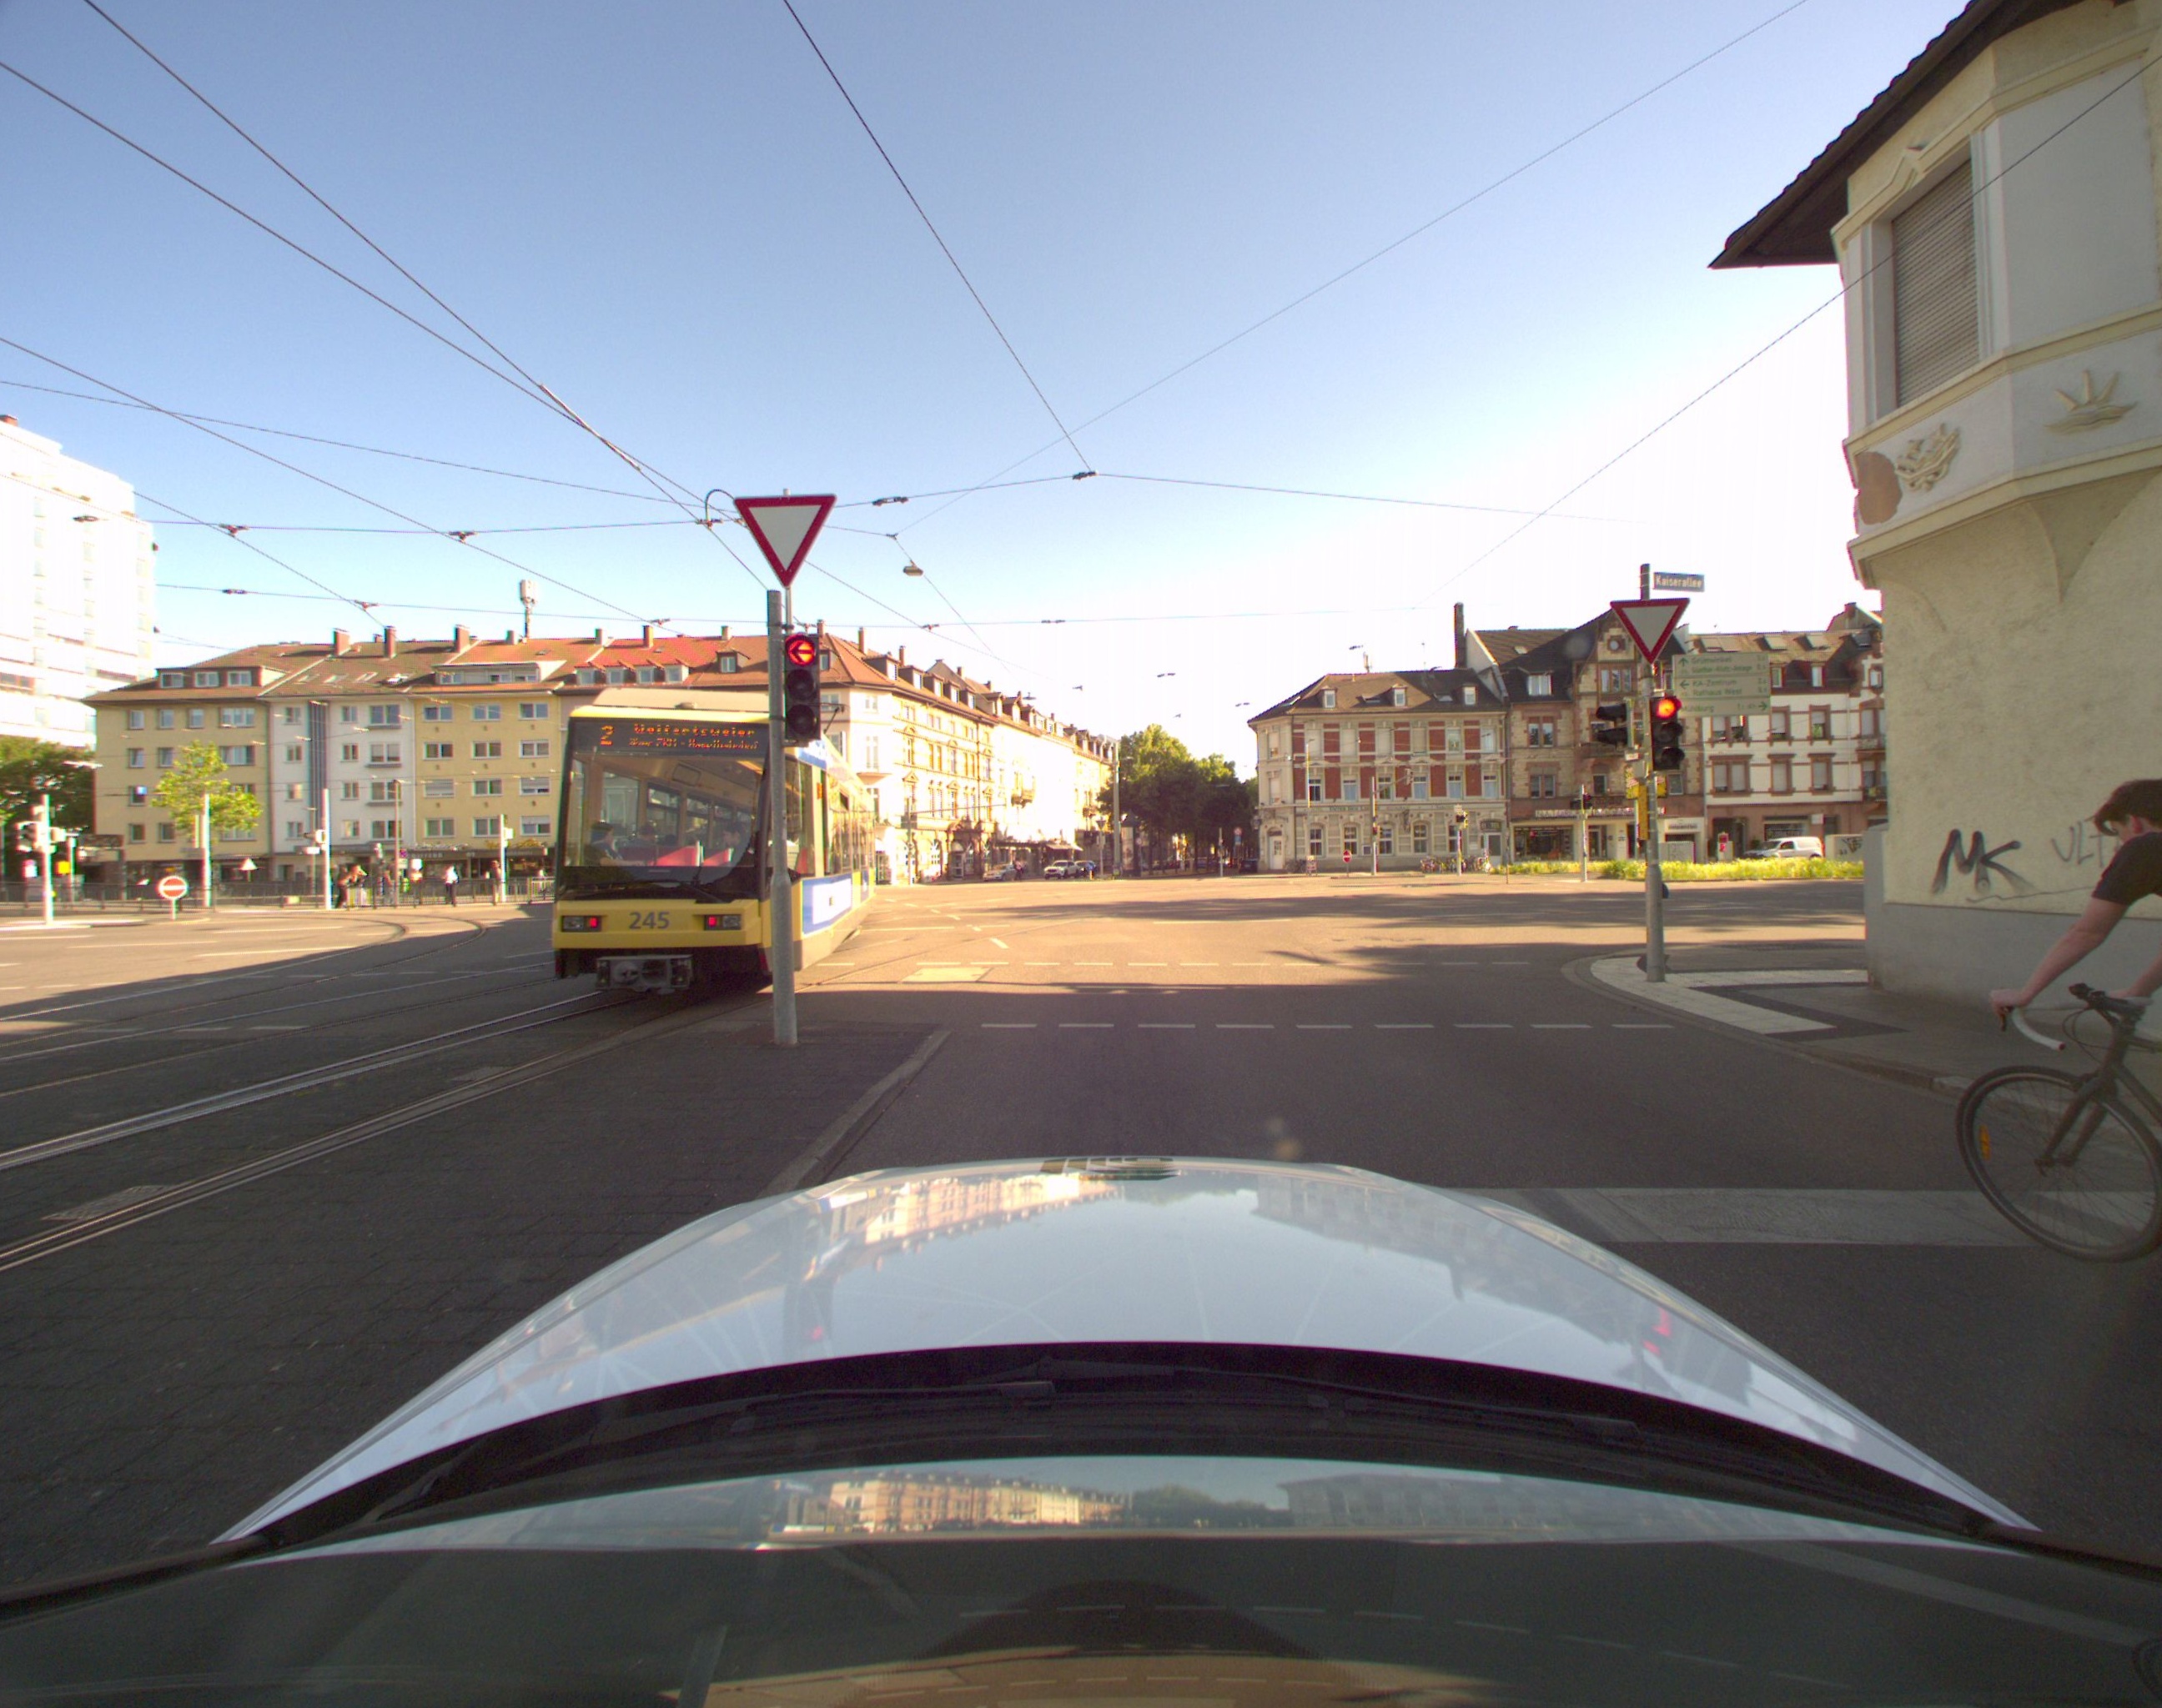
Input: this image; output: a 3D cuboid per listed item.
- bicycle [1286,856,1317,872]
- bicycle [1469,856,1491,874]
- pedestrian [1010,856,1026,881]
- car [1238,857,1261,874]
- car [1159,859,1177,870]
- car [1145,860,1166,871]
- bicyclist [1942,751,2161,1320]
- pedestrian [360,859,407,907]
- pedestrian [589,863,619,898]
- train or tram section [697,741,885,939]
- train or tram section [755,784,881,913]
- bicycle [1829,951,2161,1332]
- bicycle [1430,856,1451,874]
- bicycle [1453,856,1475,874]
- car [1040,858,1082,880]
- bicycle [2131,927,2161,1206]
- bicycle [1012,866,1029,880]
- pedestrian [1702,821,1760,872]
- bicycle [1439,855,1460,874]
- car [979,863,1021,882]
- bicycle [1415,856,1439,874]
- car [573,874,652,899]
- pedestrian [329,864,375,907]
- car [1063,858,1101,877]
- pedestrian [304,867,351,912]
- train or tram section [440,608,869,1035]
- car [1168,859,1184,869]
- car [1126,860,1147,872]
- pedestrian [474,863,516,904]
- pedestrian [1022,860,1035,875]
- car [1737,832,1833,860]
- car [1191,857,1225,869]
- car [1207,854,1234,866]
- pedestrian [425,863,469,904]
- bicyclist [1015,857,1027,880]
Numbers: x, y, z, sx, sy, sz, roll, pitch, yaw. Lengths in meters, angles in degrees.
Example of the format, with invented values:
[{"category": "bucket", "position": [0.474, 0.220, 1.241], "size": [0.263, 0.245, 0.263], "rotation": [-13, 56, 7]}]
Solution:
[{"category": "bicycle", "position": [15.500, 0.723, 57.181], "size": [2.081, 1.124, 0.366], "rotation": [0, -1, -3]}, {"category": "bicycle", "position": [25.756, 0.689, 52.592], "size": [0.606, 1.136, 2.139], "rotation": [-2, 0, 7]}, {"category": "pedestrian", "position": [-4.445, 1.042, 57.513], "size": [1.047, 1.744, 0.805], "rotation": [-1, 0, -13]}, {"category": "car", "position": [17.015, 1.143, 82.208], "size": [1.978, 1.585, 4.017], "rotation": [-2, 0, 16]}, {"category": "car", "position": [13.911, 1.707, 130.324], "size": [1.822, 1.552, 4.412], "rotation": [-2, 0, 19]}, {"category": "car", "position": [11.253, 1.737, 122.592], "size": [1.977, 1.612, 4.413], "rotation": [-2, 0, 20]}, {"category": "bicyclist", "position": [3.601, 0.555, 2.585], "size": [0.559, 1.754, 1.102], "rotation": [-2, 0, 4]}, {"category": "pedestrian", "position": [-26.695, 1.100, 31.177], "size": [0.939, 1.775, 1.006], "rotation": [-1, 0, -11]}, {"category": "pedestrian", "position": [-24.718, 1.365, 42.230], "size": [0.935, 1.756, 0.935], "rotation": [-2, 0, 1]}, {"category": "train or tram section", "position": [-6.203, -0.266, 18.847], "size": [2.816, 3.499, 8.429], "rotation": [-1, 0, -11]}, {"category": "train or tram section", "position": [-9.434, -0.131, 28.093], "size": [2.783, 3.499, 11.933], "rotation": [-1, 0, -24]}, {"category": "bicycle", "position": [3.616, 0.943, 2.662], "size": [0.642, 1.010, 1.930], "rotation": [-2, 0, 4]}, {"category": "bicycle", "position": [23.279, 0.692, 52.830], "size": [0.615, 1.143, 2.178], "rotation": [-2, 0, 7]}, {"category": "bicycle", "position": [24.779, 0.710, 52.682], "size": [0.615, 1.143, 2.178], "rotation": [-2, 0, 7]}, {"category": "car", "position": [-1.608, 1.251, 67.529], "size": [1.977, 1.684, 4.413], "rotation": [-2, 0, 20]}, {"category": "bicycle", "position": [4.537, 0.852, 2.436], "size": [0.516, 1.116, 1.815], "rotation": [-2, 0, 4]}, {"category": "bicycle", "position": [-4.817, 1.511, 65.286], "size": [0.675, 1.066, 2.133], "rotation": [-2, 0, 14]}, {"category": "pedestrian", "position": [27.114, -0.308, 33.992], "size": [1.314, 2.044, 1.307], "rotation": [-2, 0, 1]}, {"category": "bicycle", "position": [23.858, 0.672, 52.777], "size": [0.615, 1.143, 2.178], "rotation": [-2, 0, 7]}, {"category": "car", "position": [-6.683, 1.521, 67.372], "size": [1.883, 1.455, 4.020], "rotation": [-2, 0, 20]}, {"category": "bicycle", "position": [22.500, 0.701, 52.979], "size": [0.802, 1.143, 2.178], "rotation": [-2, 0, 7]}, {"category": "car", "position": [-30.620, 2.138, 53.325], "size": [3.974, 1.453, 2.000], "rotation": [-1, 0, -1]}, {"category": "pedestrian", "position": [-28.117, 1.183, 31.415], "size": [0.940, 1.598, 1.004], "rotation": [-1, 0, -16]}, {"category": "car", "position": [0.117, 1.218, 74.007], "size": [1.977, 1.612, 4.413], "rotation": [-2, 0, 20]}, {"category": "pedestrian", "position": [-28.092, 1.301, 30.376], "size": [0.942, 1.598, 1.002], "rotation": [-1, 0, -21]}, {"category": "train or tram section", "position": [-4.586, -0.292, 10.853], "size": [2.816, 3.499, 7.932], "rotation": [-1, 0, -11]}, {"category": "car", "position": [15.828, 1.728, 136.159], "size": [1.750, 1.549, 4.411], "rotation": [-2, 0, 18]}, {"category": "car", "position": [7.532, 1.673, 110.972], "size": [1.978, 1.486, 4.017], "rotation": [-1, 0, 16]}, {"category": "pedestrian", "position": [-23.239, 1.160, 32.295], "size": [0.997, 1.598, 0.947], "rotation": [-2, 0, 24]}, {"category": "pedestrian", "position": [-5.237, 1.339, 81.120], "size": [0.921, 1.535, 1.142], "rotation": [-1, 0, 16]}, {"category": "car", "position": [45.359, -0.479, 52.548], "size": [4.317, 1.640, 2.152], "rotation": [-2, 0, 1]}, {"category": "car", "position": [17.942, 1.314, 115.185], "size": [4.335, 1.612, 2.012], "rotation": [-2, 0, 28]}, {"category": "car", "position": [22.829, 0.978, 133.295], "size": [3.948, 1.706, 2.013], "rotation": [-2, 0, 32]}, {"category": "pedestrian", "position": [-25.303, 1.177, 32.505], "size": [0.998, 1.598, 0.946], "rotation": [-2, 0, 18]}, {"category": "bicyclist", "position": [-4.813, 1.131, 65.329], "size": [0.674, 1.820, 1.075], "rotation": [-2, 0, 14]}]
